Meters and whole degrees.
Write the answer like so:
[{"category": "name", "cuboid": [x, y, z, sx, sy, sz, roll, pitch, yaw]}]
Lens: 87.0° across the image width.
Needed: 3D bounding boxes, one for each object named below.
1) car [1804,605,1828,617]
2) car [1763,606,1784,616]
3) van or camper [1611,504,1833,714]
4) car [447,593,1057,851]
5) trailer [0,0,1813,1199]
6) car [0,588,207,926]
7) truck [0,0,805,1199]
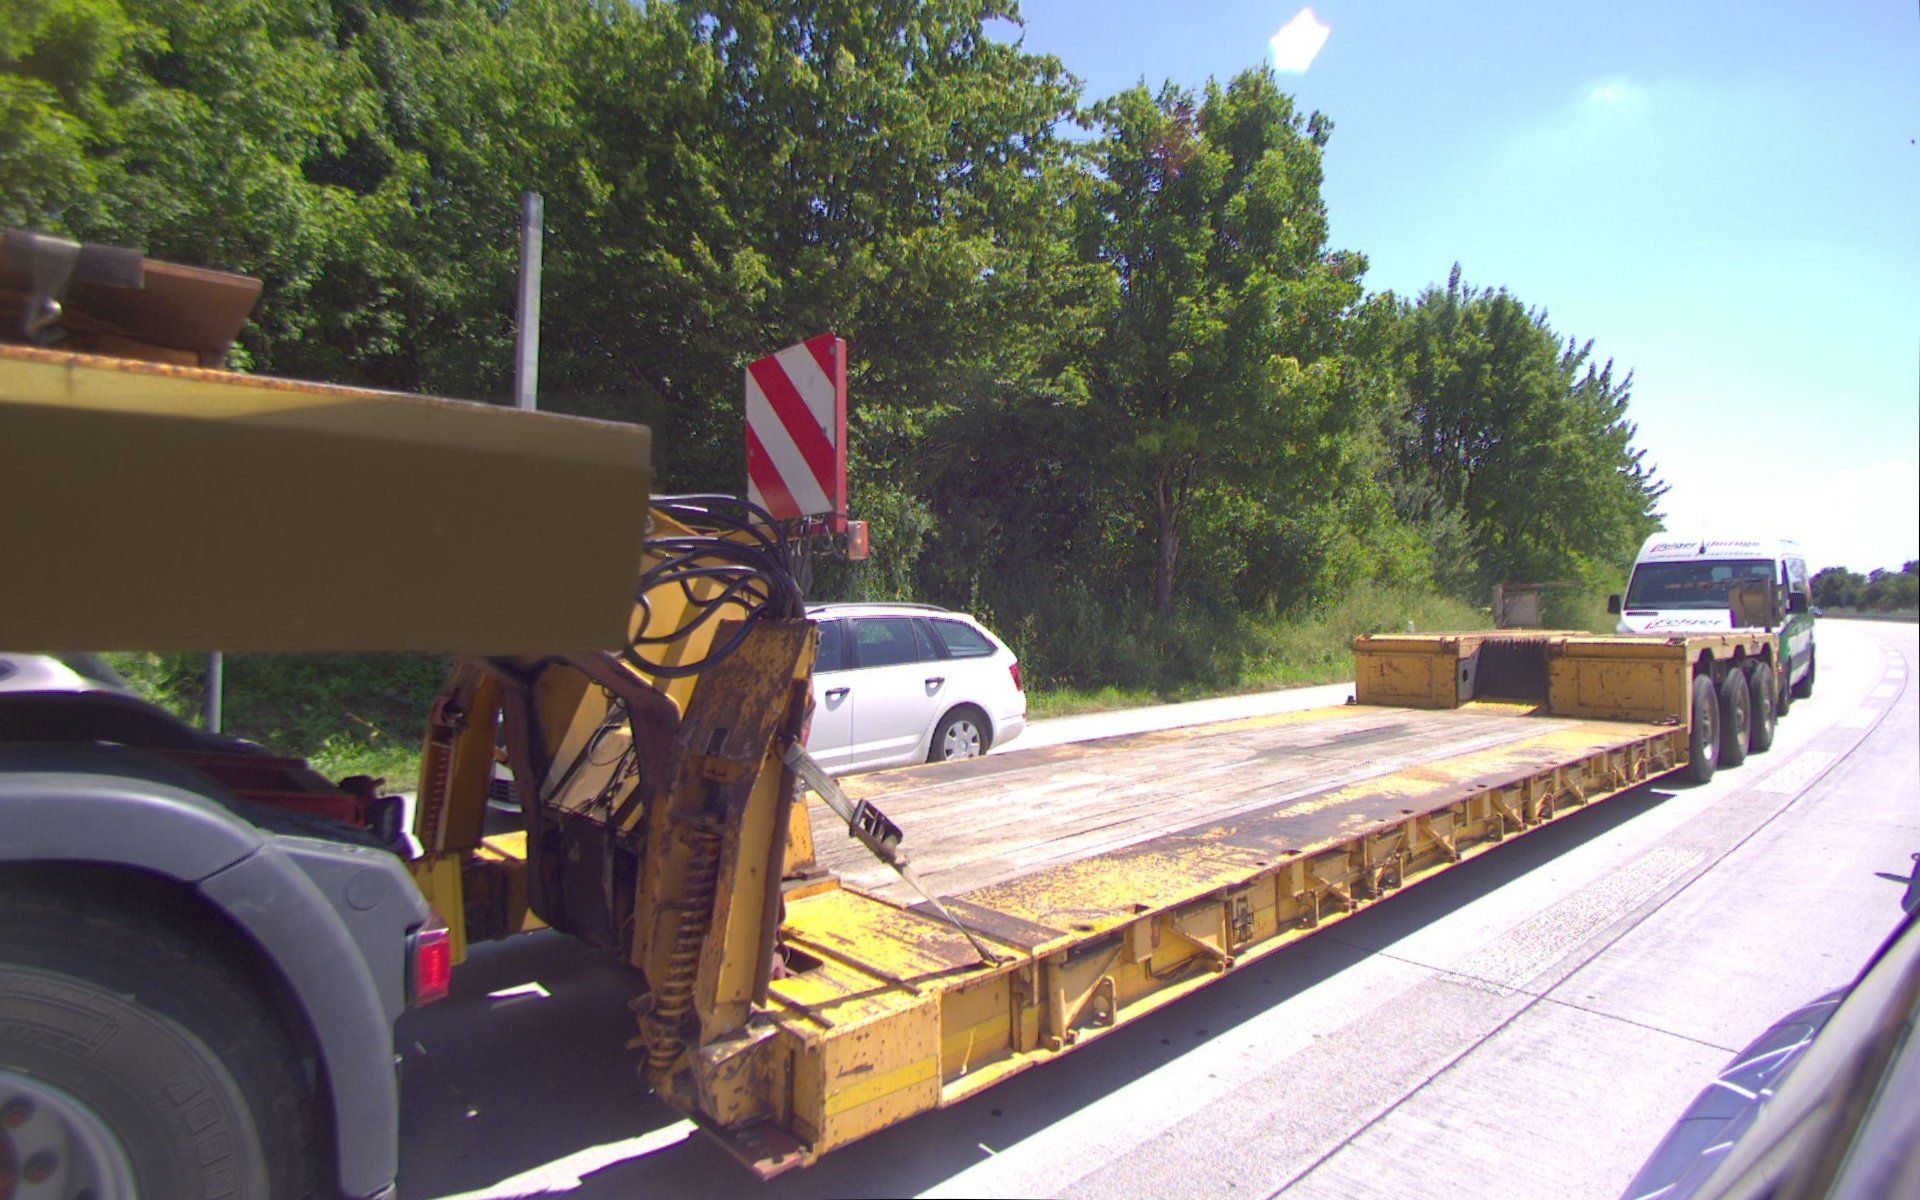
[{"category": "car", "cuboid": [109.816, 1.380, 129.842, 1.614, 1.504, 3.957, 0, 0, 30]}, {"category": "car", "cuboid": [129.946, 1.808, 161.618, 1.690, 1.483, 3.965, 0, 0, 26]}, {"category": "van or camper", "cuboid": [11.738, 0.079, 15.387, 2.063, 2.606, 5.815, 0, 0, 43]}, {"category": "car", "cuboid": [-1.390, 0.691, 8.062, 4.521, 1.480, 1.769, 0, 0, -43]}, {"category": "trailer", "cuboid": [1.841, 0.099, 6.171, 16.076, 2.626, 3.031, 0, 0, -42]}, {"category": "car", "cuboid": [-5.838, 0.701, 4.138, 4.290, 1.480, 1.770, -1, 0, -42]}, {"category": "truck", "cuboid": [-4.046, -0.512, 0.819, 7.342, 3.820, 3.017, 0, 0, -42]}]
